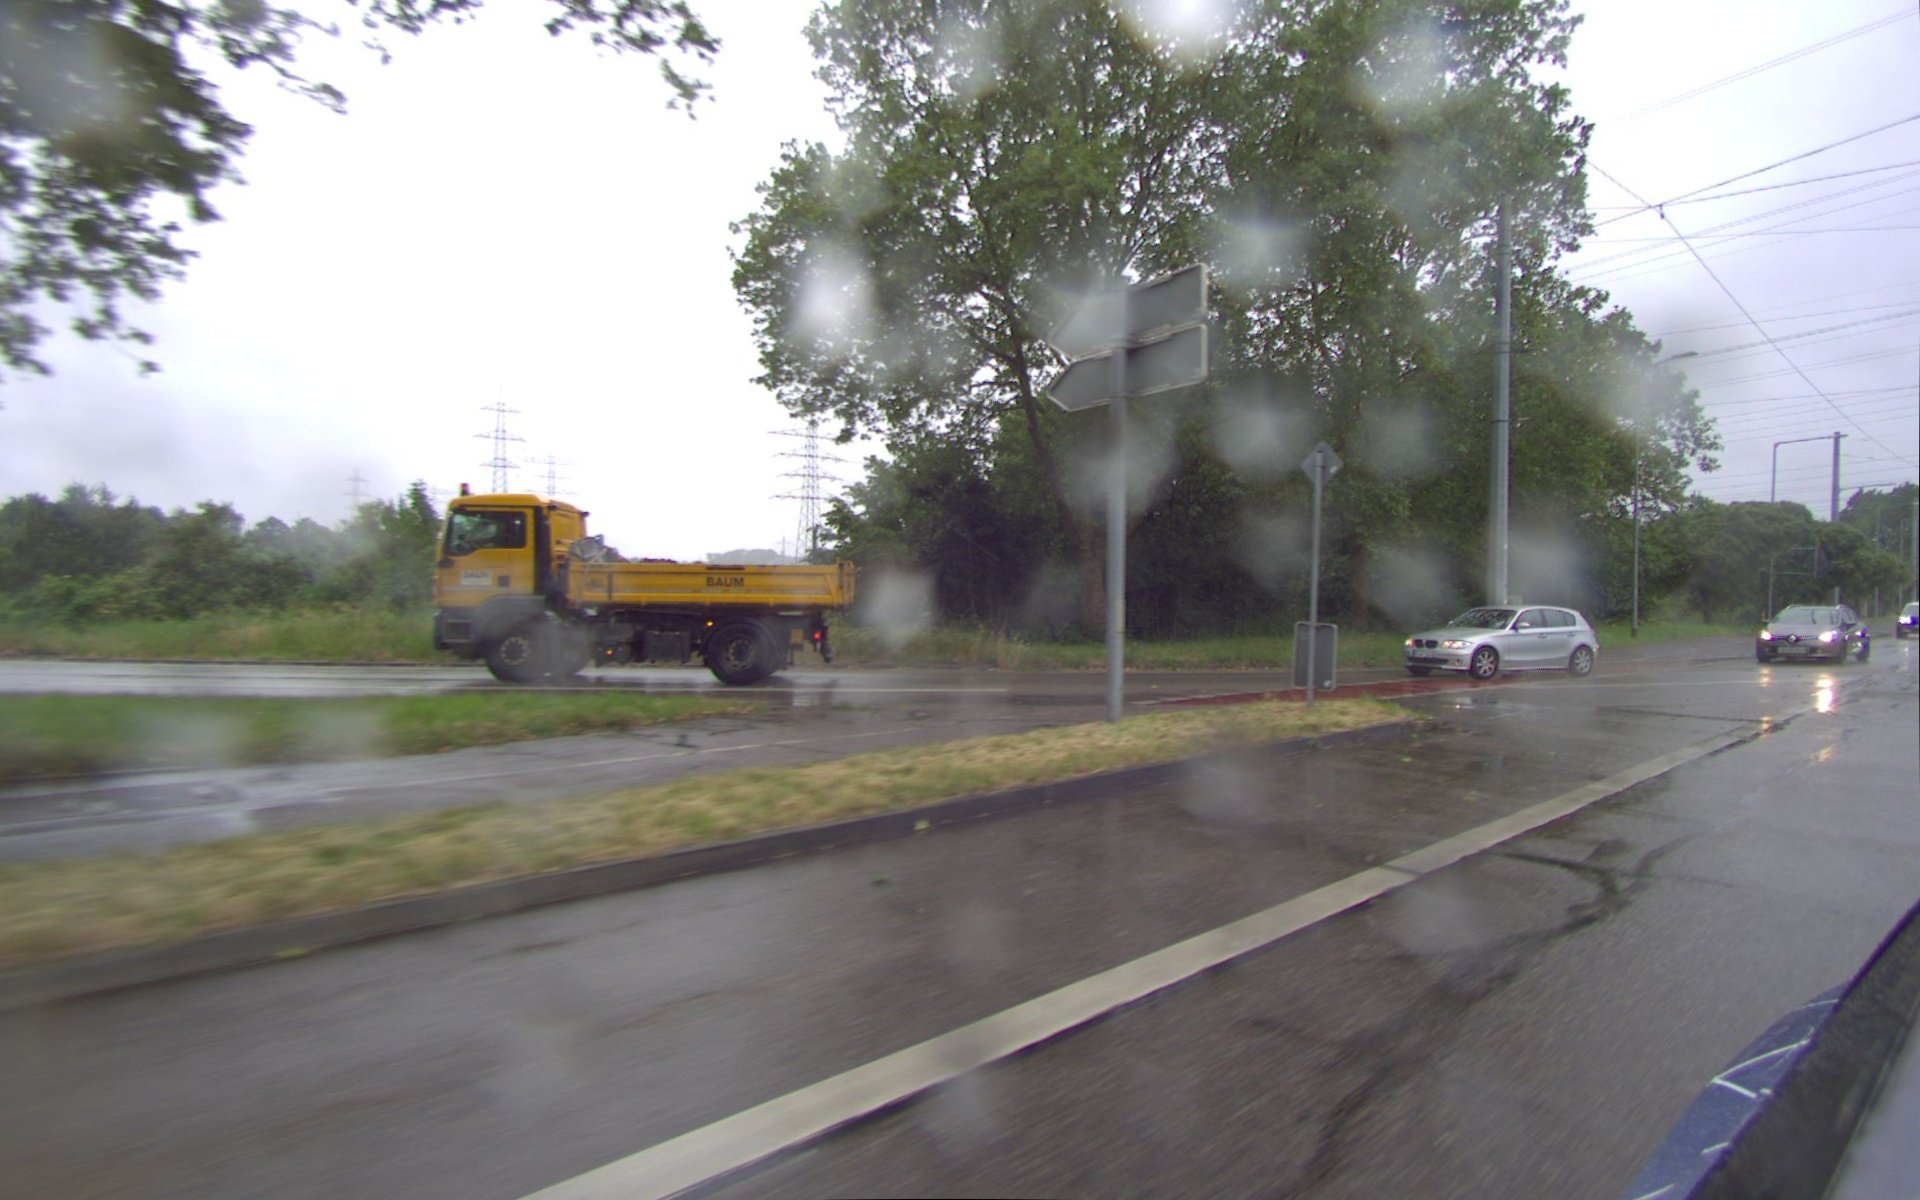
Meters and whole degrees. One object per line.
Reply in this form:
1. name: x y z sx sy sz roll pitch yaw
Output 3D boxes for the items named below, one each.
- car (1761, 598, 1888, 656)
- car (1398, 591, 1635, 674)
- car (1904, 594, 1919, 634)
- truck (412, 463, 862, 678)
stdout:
1. car: 22.397 0.663 26.173 4.202 1.374 1.891 1 -1 -41
2. car: 11.140 0.637 20.241 4.509 1.522 1.635 1 -1 -21
3. car: 44.383 0.650 45.913 4.679 1.724 1.796 1 -1 -41
4. truck: -5.161 -0.443 17.159 6.798 3.299 2.564 1 -1 -2
